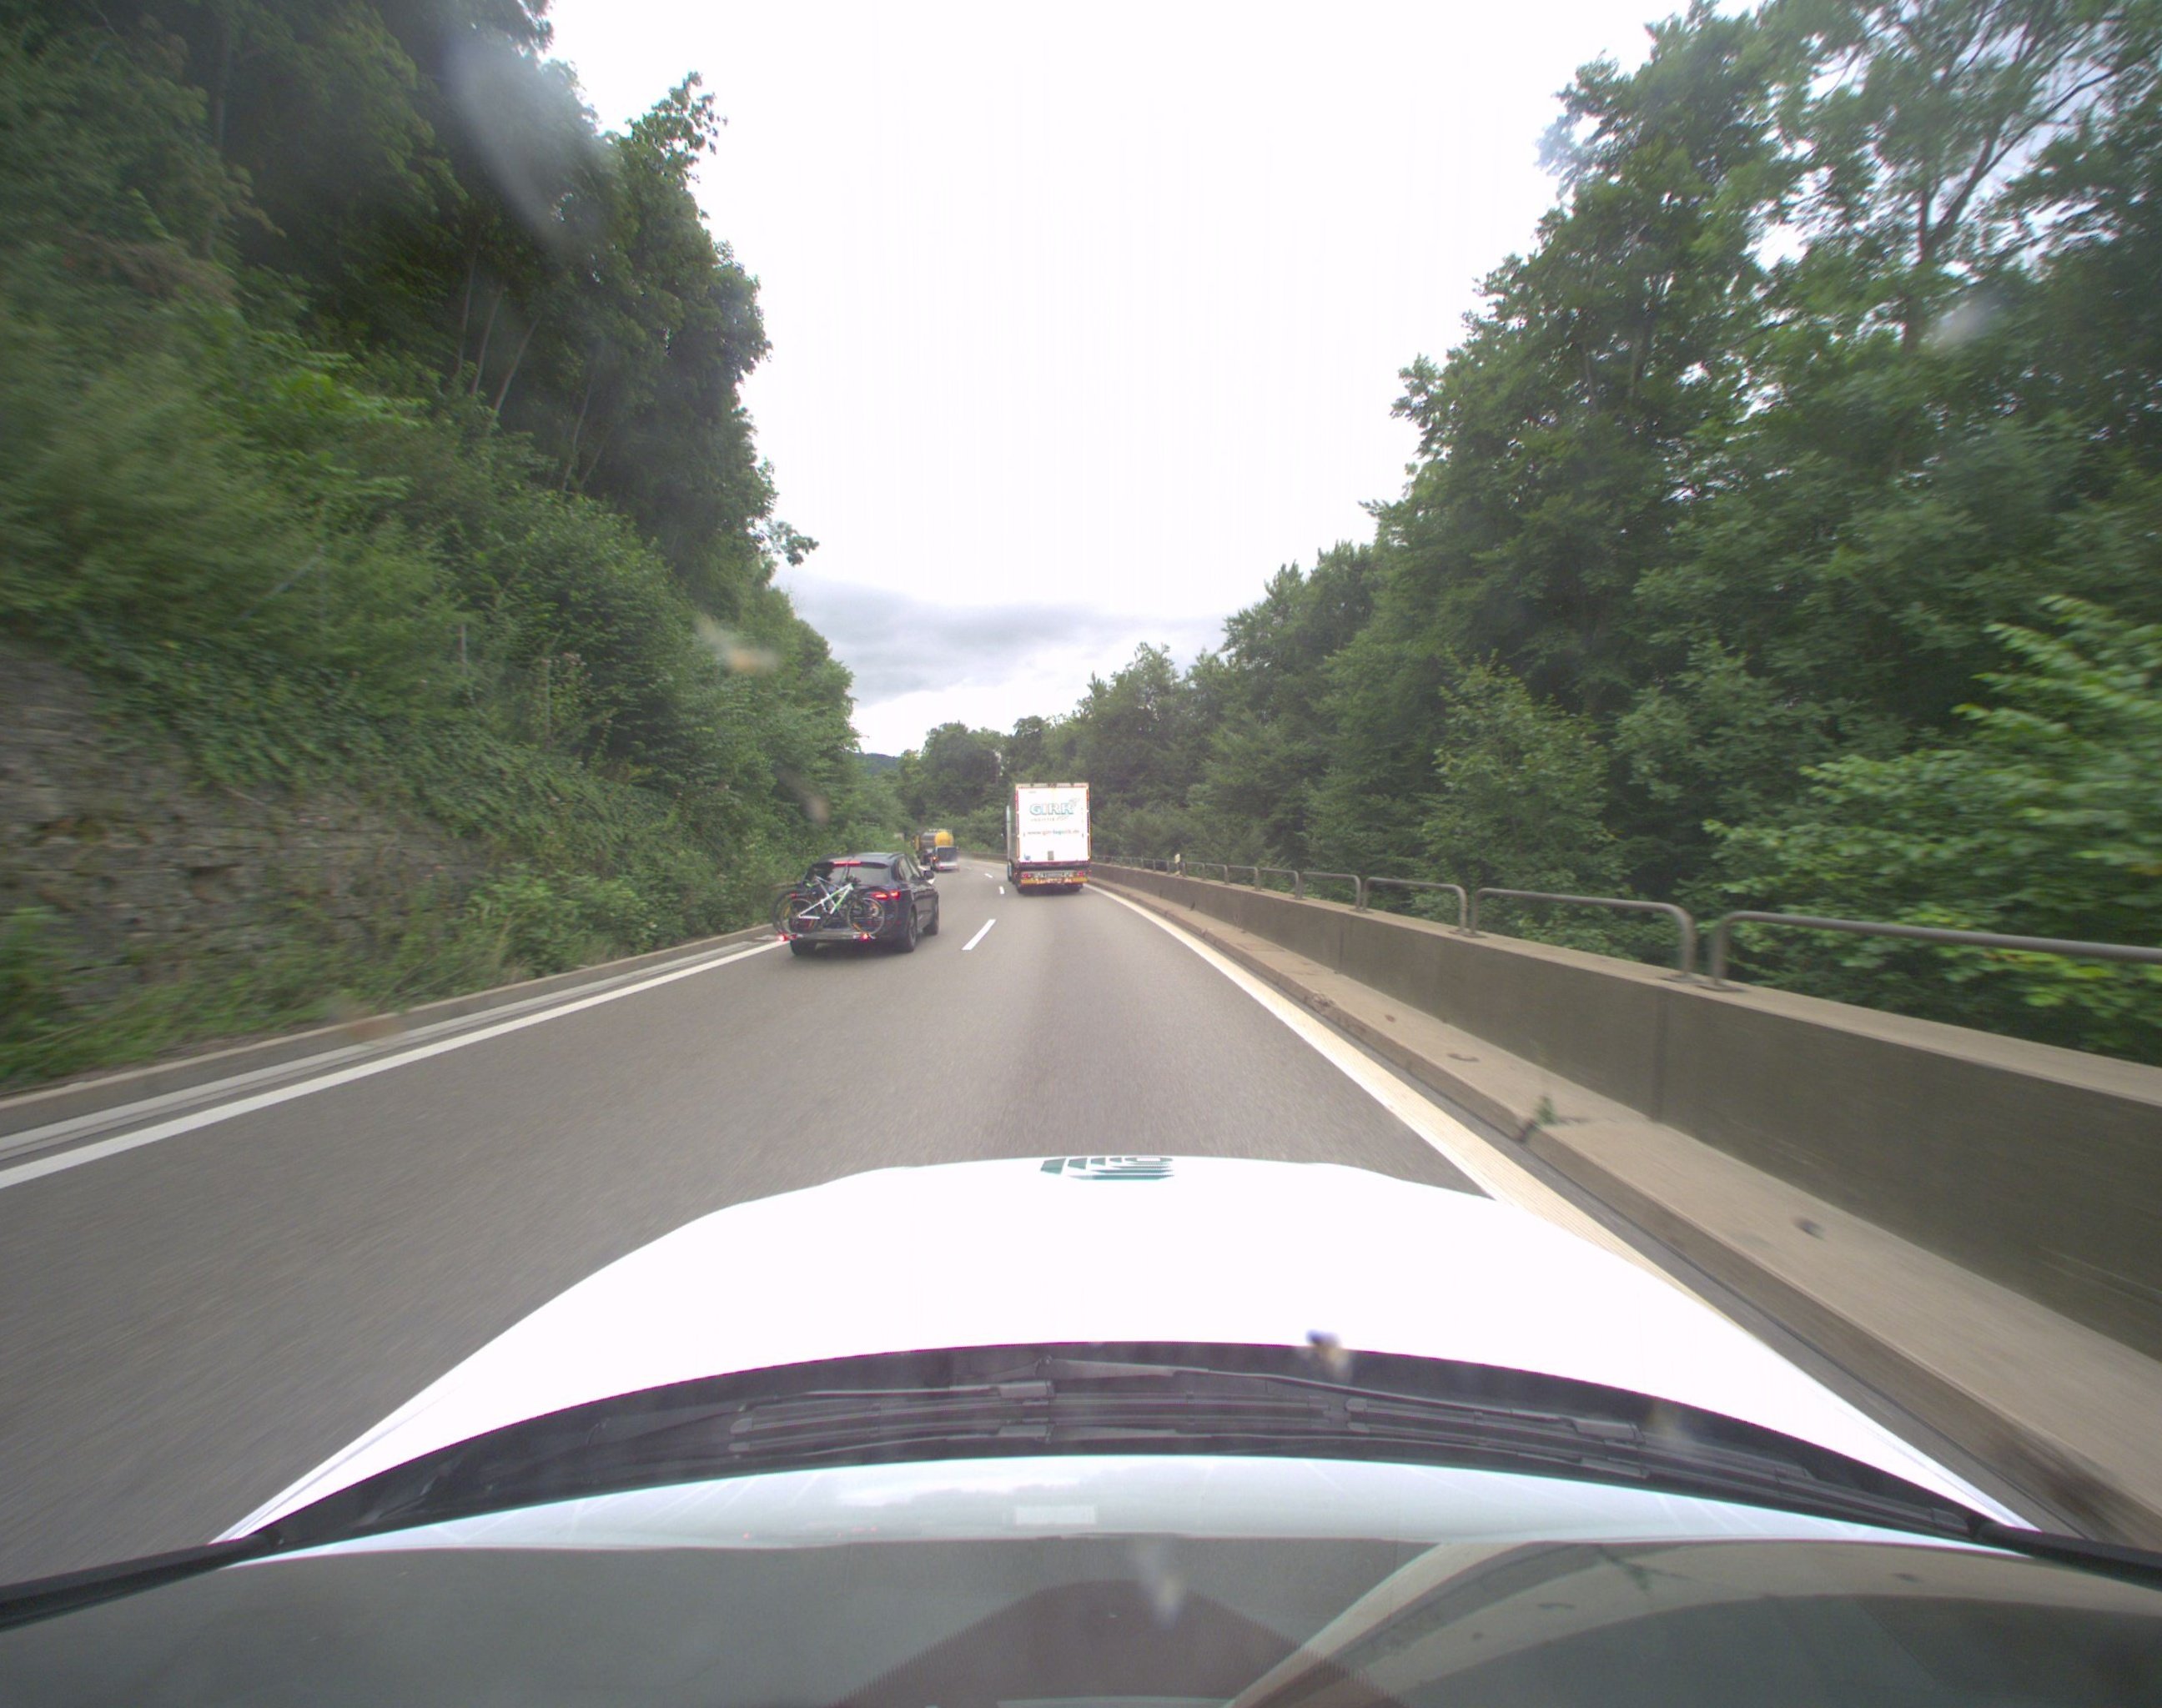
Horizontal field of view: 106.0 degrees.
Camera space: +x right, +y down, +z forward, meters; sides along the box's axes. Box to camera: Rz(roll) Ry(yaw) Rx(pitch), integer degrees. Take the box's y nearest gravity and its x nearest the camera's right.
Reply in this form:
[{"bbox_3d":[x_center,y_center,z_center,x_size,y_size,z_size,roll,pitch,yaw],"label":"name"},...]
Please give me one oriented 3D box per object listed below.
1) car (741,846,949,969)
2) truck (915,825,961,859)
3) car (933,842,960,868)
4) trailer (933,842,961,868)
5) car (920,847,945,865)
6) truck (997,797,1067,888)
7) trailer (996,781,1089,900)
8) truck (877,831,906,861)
[{"bbox_3d":[-3.652,0.765,13.856,1.966,1.593,5.581,2,-1,-2],"label":"car"},{"bbox_3d":[-18.089,-1.395,101.931,3.069,3.986,13.599,-1,0,-21],"label":"truck"},{"bbox_3d":[-10.838,0.132,65.435,1.994,2.014,5.520,0,-1,-10],"label":"car"},{"bbox_3d":[-10.063,0.108,61.034,1.971,1.939,3.418,0,-1,-10],"label":"trailer"},{"bbox_3d":[-14.695,0.215,80.459,1.998,1.717,3.977,-1,0,-17],"label":"car"},{"bbox_3d":[-2.573,-0.615,40.444,3.053,3.985,7.173,2,1,-6],"label":"truck"},{"bbox_3d":[-1.907,-0.633,34.101,3.053,3.985,12.114,2,2,-6],"label":"trailer"},{"bbox_3d":[-35.482,-1.380,152.056,3.843,5.325,10.980,-1,0,-21],"label":"truck"}]
